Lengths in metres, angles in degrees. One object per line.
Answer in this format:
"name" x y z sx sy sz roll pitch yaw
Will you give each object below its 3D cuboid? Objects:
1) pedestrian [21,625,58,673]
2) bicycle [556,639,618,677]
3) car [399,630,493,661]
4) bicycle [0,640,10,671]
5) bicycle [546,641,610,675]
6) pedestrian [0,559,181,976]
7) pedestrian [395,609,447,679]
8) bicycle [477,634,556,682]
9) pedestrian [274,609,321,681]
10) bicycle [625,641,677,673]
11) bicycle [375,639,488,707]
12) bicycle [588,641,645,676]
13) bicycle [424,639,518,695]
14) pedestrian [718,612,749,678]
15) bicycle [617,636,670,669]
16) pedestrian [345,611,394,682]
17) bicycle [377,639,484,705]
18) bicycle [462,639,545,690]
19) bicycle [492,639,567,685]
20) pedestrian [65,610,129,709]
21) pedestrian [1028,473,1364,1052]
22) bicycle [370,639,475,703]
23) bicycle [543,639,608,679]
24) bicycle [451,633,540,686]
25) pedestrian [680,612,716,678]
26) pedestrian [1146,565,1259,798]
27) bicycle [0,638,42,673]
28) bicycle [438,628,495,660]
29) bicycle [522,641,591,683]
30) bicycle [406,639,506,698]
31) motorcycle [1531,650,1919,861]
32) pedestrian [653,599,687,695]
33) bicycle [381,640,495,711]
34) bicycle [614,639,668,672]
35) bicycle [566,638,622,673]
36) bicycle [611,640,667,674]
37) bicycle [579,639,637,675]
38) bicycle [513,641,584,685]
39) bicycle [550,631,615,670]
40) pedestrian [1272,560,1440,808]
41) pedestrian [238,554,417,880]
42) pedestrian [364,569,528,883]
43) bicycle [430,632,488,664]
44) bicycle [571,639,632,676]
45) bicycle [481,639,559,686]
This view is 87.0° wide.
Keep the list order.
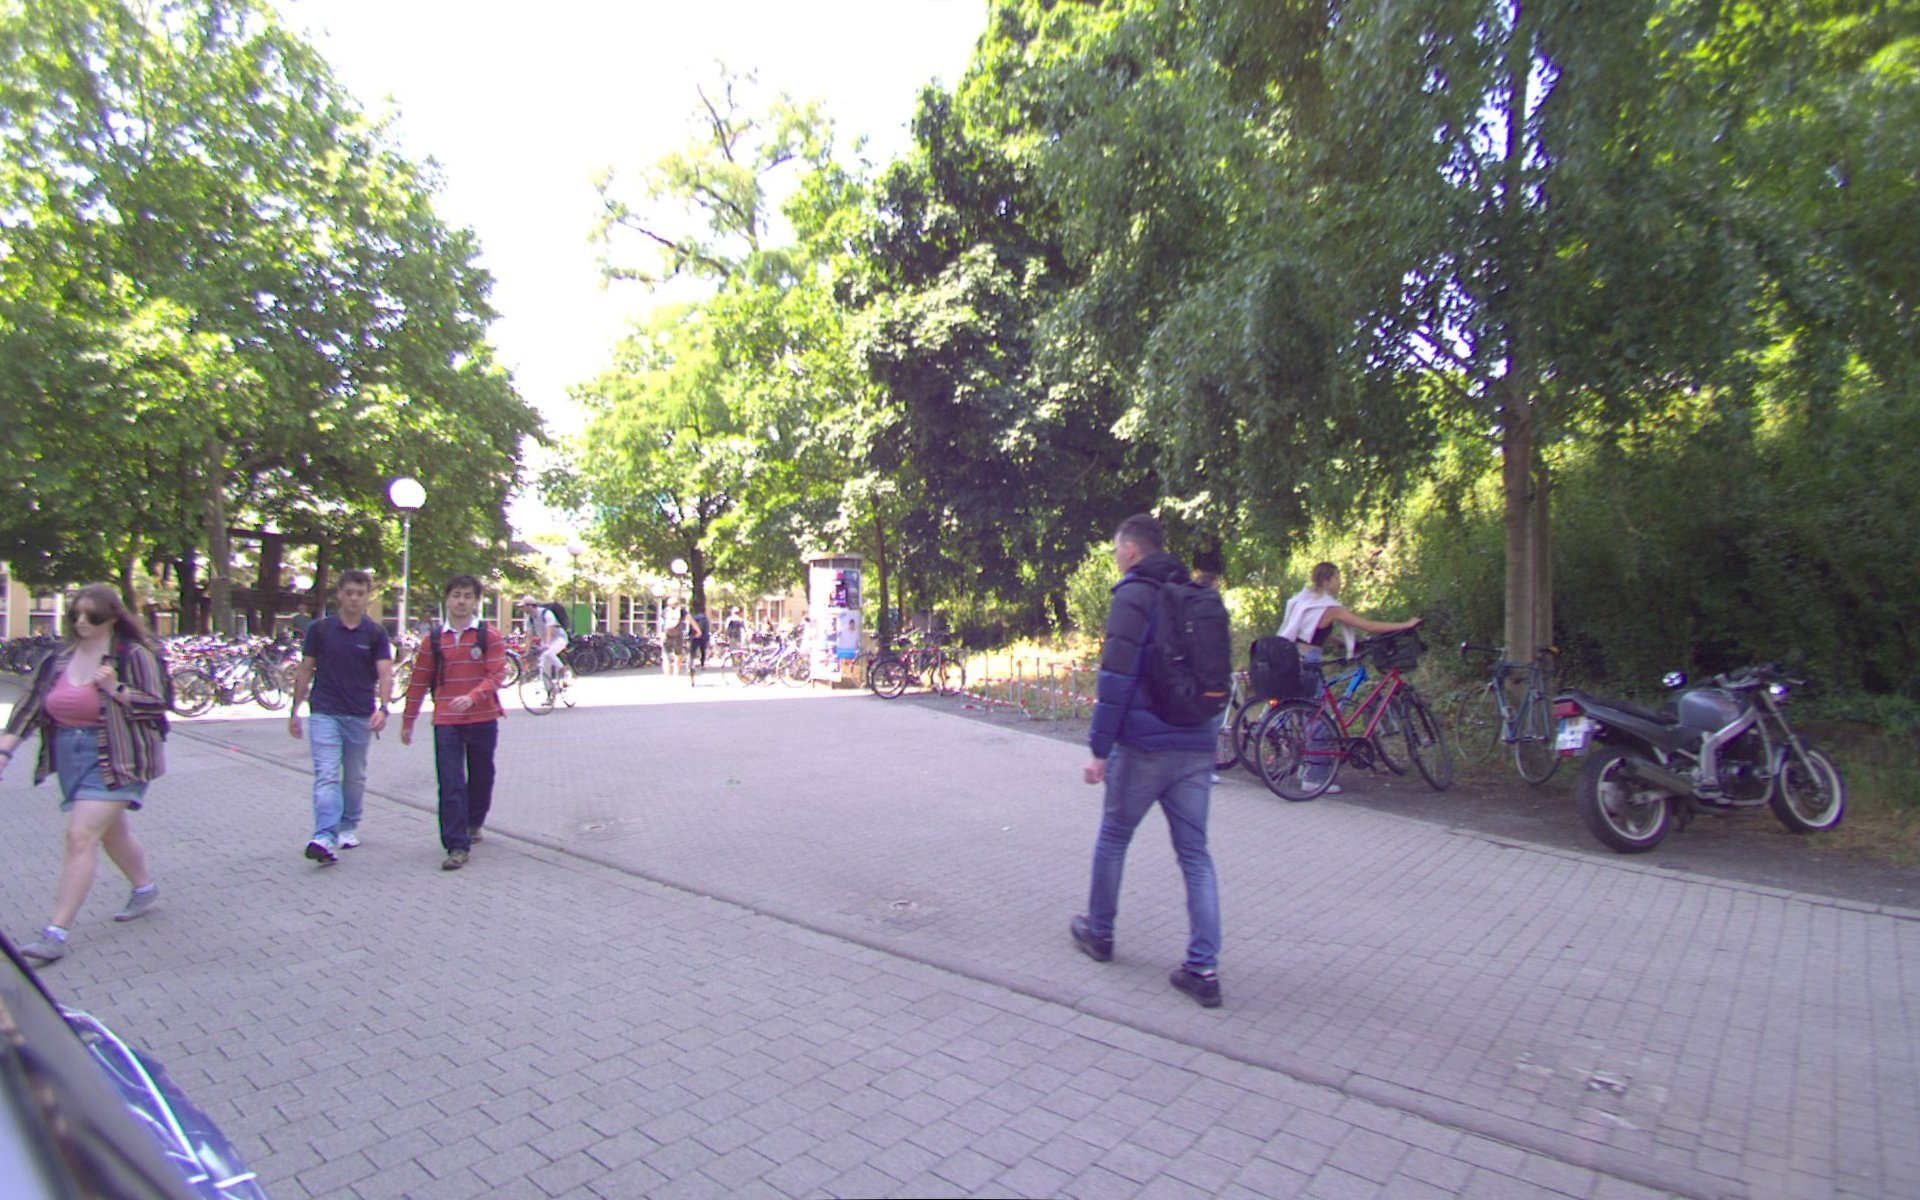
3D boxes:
"pedestrian" -32.517 1.724 35.746 0.868 1.668 0.704 1 -3 -38
"bicycle" -11.164 1.729 30.294 1.676 1.092 0.474 0 -1 2
"car" -29.503 2.591 58.217 1.836 1.630 4.480 0 -1 39
"bicycle" -35.971 2.064 37.154 0.760 1.159 2.115 2 -2 -18
"bicycle" -11.240 1.696 29.774 1.716 0.969 0.452 0 -1 2
"pedestrian" -4.085 0.703 4.672 0.732 1.737 0.676 -2 -1 45
"pedestrian" -13.513 1.091 25.400 0.894 1.716 0.770 -1 -1 -1
"bicycle" -10.473 1.368 23.940 1.671 1.092 0.475 0 -1 -14
"pedestrian" -17.156 1.154 26.223 0.701 1.820 0.768 -1 -1 8
"bicycle" -10.849 1.985 35.550 1.676 1.092 0.474 0 -1 2
"bicycle" -9.168 1.244 17.592 1.695 1.092 0.475 0 -1 -35
"bicycle" -10.923 1.865 32.196 1.676 1.092 0.474 0 -1 2
"bicycle" -10.005 1.368 20.750 1.673 1.092 0.475 0 -1 -7
"pedestrian" -6.401 1.259 28.645 0.758 1.817 0.985 0 -1 -8
"bicycle" -10.775 1.793 34.439 1.676 1.092 0.474 0 -1 2
"pedestrian" -14.585 1.133 25.015 0.893 1.716 0.770 1 -2 -44
"bicycle" -9.438 1.258 18.048 1.670 1.092 0.475 0 -1 -30
"bicycle" -10.305 1.450 22.885 1.671 1.092 0.475 0 -1 -14
"bicycle" -10.659 1.532 25.106 1.671 1.092 0.475 0 -1 -14
"pedestrian" -15.273 1.030 17.930 0.757 1.692 0.909 1 -1 -35
"pedestrian" 0.825 0.522 3.856 0.874 1.872 1.034 -1 -1 -10
"bicycle" -9.791 1.270 18.447 1.670 1.092 0.475 0 -1 -30
"bicycle" -10.856 1.666 28.599 1.673 1.092 0.475 0 -1 -6
"bicycle" -10.035 1.274 21.904 1.672 1.092 0.475 0 -1 -11
"pedestrian" -7.397 1.267 28.616 0.822 1.829 0.883 -1 -1 -4
"pedestrian" 1.882 0.622 7.947 0.722 1.737 0.685 -1 -2 5
"bicycle" -30.935 1.803 32.851 0.496 1.116 1.608 -4 -4 40
"bicycle" -17.610 1.559 36.139 1.884 1.116 0.501 -1 -1 8
"bicycle" -10.832 1.653 27.209 1.671 1.092 0.475 0 -1 -14
"bicycle" -9.765 1.321 19.632 1.673 1.092 0.475 0 -1 -7
"motorcycle" 4.390 0.858 5.814 1.994 1.055 0.475 -2 -1 -6
"pedestrian" -5.760 0.910 20.059 0.603 1.849 1.053 0 -1 -18
"bicycle" -8.844 1.252 17.179 1.672 1.118 0.475 0 -1 -37
"bicycle" -10.680 1.852 33.936 1.676 1.092 0.474 0 -1 2
"bicycle" -11.893 1.796 32.914 1.676 1.092 0.474 0 -1 2
"bicycle" -10.563 1.867 33.329 1.676 1.092 0.474 0 -1 2
"bicycle" -10.983 1.770 31.606 1.676 1.092 0.474 0 -1 2
"bicycle" -10.637 1.620 26.191 1.671 1.092 0.475 0 -1 -14
"bicycle" -10.854 1.440 29.132 1.673 1.092 0.475 0 -1 -6
"pedestrian" 2.893 0.599 7.472 0.924 1.737 0.677 0 -2 -1
"pedestrian" -3.886 0.680 6.300 0.675 1.849 0.944 0 -2 -15
"pedestrian" -3.114 0.716 6.233 0.707 1.737 1.068 0 -2 -17
"bicycle" -17.602 1.681 35.590 1.884 1.116 0.501 -1 -1 8
"bicycle" -10.901 1.754 30.788 1.676 1.092 0.474 0 -1 2
"bicycle" -10.595 1.501 24.408 1.671 1.092 0.475 0 -1 -14
